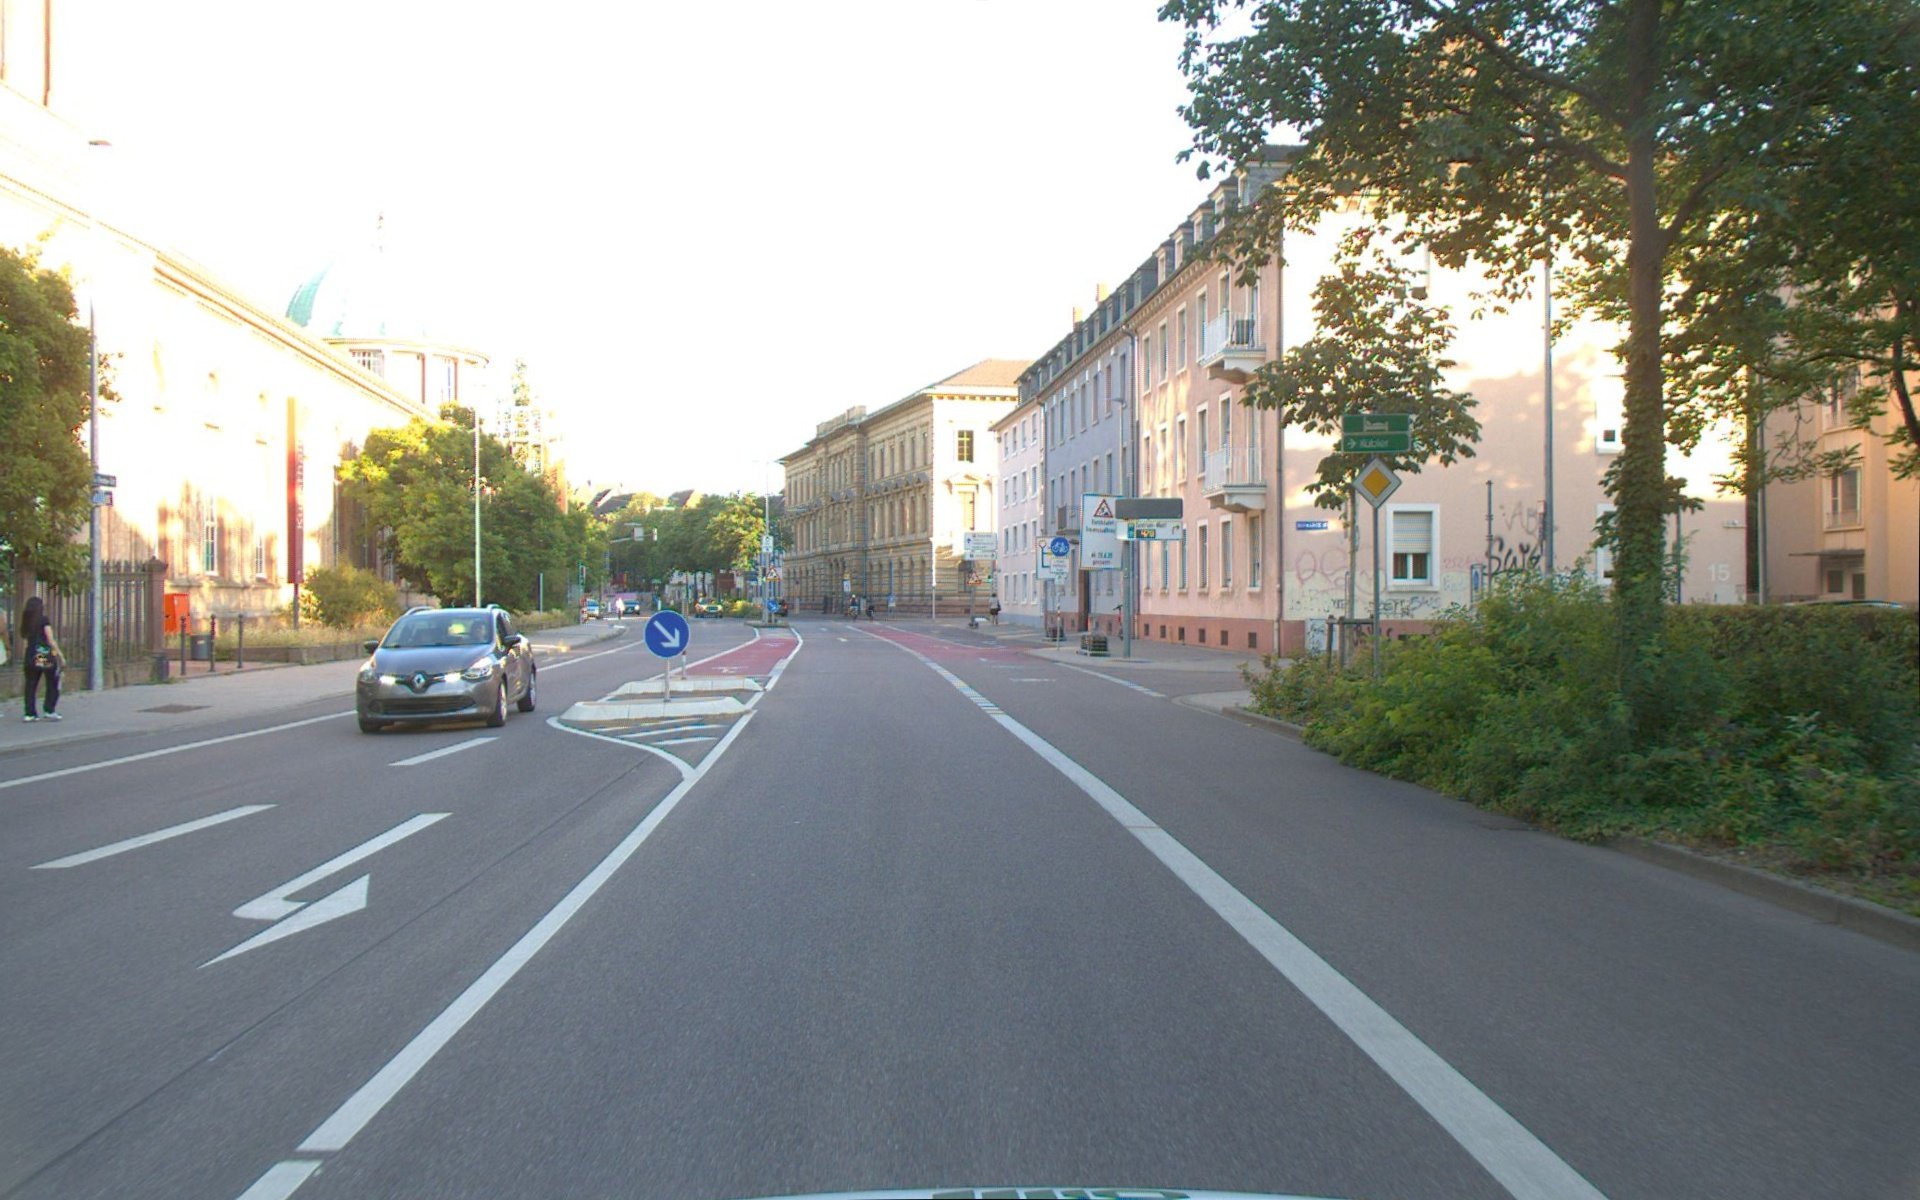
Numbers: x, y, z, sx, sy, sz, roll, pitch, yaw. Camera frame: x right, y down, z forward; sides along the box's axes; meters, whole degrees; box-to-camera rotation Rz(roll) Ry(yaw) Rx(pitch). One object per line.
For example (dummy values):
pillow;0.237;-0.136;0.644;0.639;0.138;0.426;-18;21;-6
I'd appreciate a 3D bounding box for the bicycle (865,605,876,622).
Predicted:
bicycle;-5.730;0.852;105.543;0.639;1.033;2.196;2;0;-4

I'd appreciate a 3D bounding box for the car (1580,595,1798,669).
car;16.678;0.726;37.996;4.154;1.507;1.871;-2;0;0

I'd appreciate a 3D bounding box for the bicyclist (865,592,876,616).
bicyclist;-5.713;0.281;105.549;0.639;1.501;0.940;2;0;-5

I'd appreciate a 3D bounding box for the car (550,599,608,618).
car;-28.804;0.634;125.094;3.910;1.445;1.997;0;0;28

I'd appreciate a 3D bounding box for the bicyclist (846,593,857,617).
bicyclist;-6.937;0.308;105.593;0.639;1.471;0.878;2;0;-5

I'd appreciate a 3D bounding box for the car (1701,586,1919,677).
car;16.227;0.560;30.629;4.154;1.507;1.871;-2;0;0

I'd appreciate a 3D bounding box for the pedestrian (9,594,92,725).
pedestrian;-11.670;0.747;21.235;0.666;1.650;0.689;0;0;4

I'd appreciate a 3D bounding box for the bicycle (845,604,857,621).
bicycle;-6.948;0.787;105.482;0.639;1.033;2.195;2;0;-5

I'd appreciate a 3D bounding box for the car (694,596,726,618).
car;-19.229;0.531;127.306;1.961;1.613;3.983;0;0;-16

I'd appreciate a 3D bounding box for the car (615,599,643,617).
car;-30.743;0.708;153.577;1.965;1.613;3.974;0;0;-21

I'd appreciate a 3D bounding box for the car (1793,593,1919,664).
car;21.767;0.610;38.136;4.153;1.507;1.871;-2;0;2

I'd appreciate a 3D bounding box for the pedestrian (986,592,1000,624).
pedestrian;1.863;0.425;92.585;0.746;1.785;0.845;0;0;2

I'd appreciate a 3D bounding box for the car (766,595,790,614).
car;-15.377;0.362;139.595;1.833;1.536;3.992;1;0;-9

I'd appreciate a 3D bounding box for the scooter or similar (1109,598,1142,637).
scooter or similar;5.955;0.625;59.579;0.618;1.360;2.395;0;0;-9

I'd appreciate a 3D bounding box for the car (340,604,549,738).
car;-6.449;0.823;21.112;1.800;1.464;3.994;-2;0;-7

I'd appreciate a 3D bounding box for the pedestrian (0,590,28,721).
pedestrian;-12.424;0.694;21.083;0.666;1.650;0.689;0;0;4
